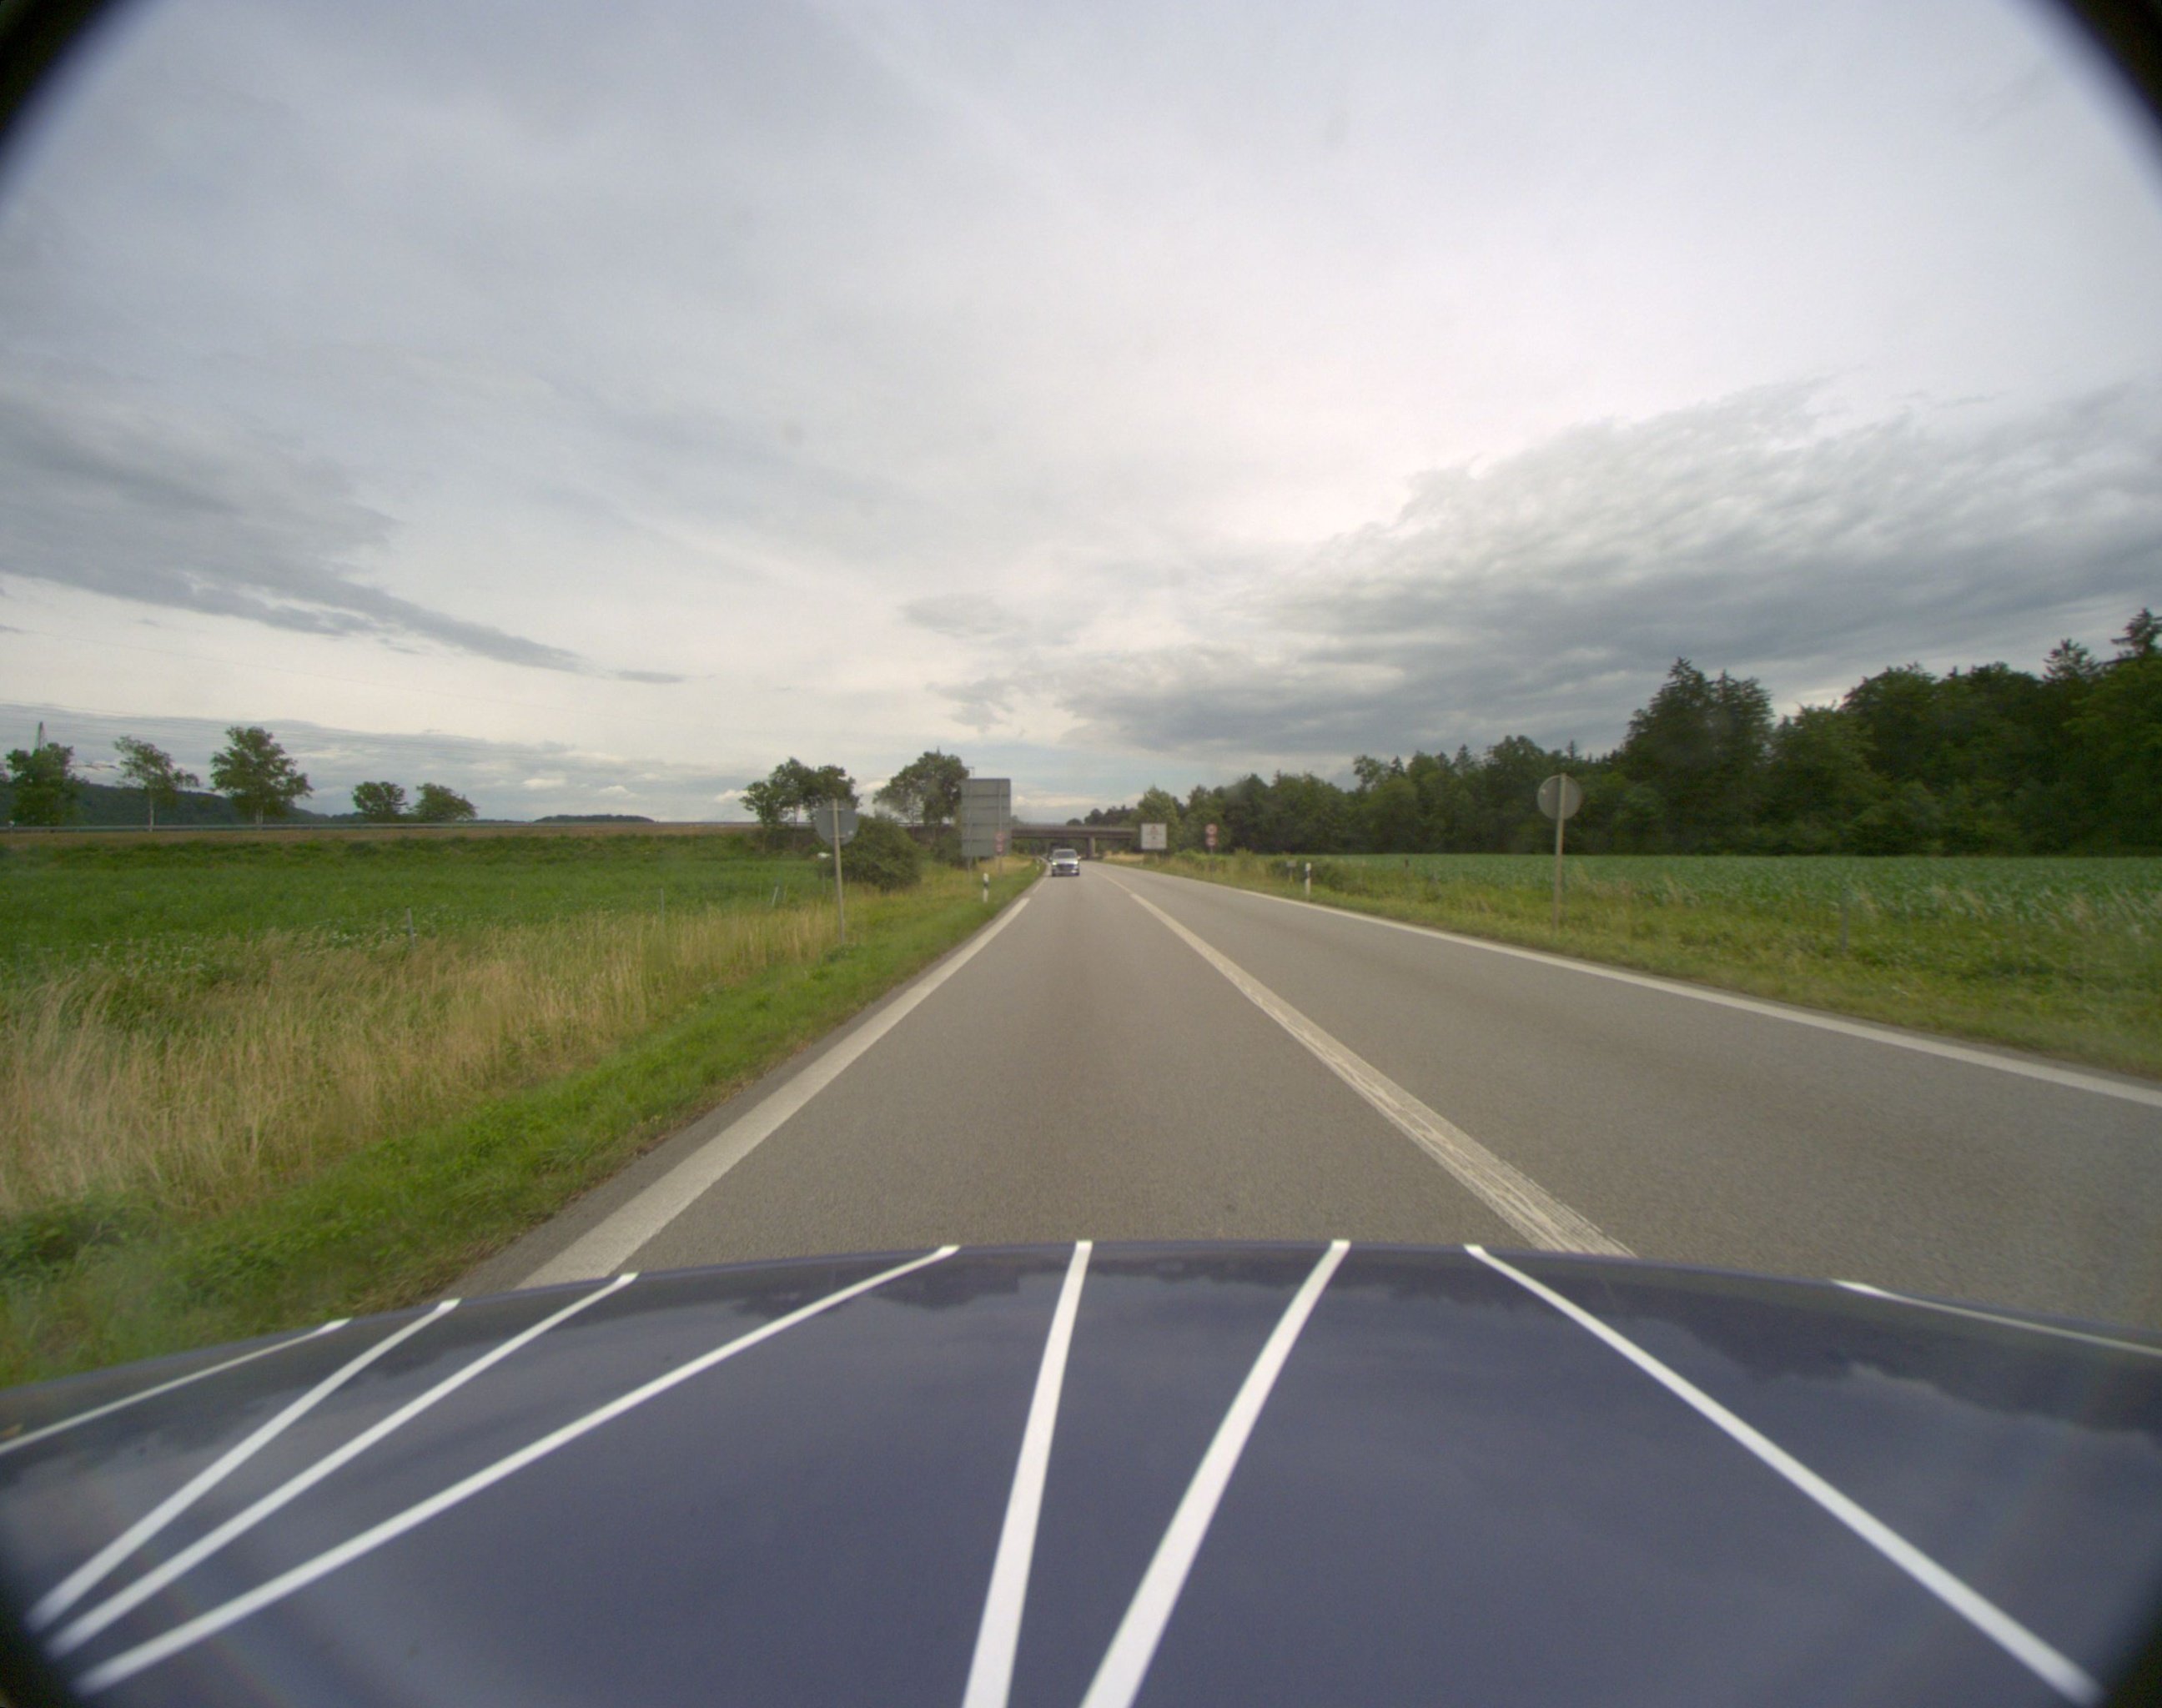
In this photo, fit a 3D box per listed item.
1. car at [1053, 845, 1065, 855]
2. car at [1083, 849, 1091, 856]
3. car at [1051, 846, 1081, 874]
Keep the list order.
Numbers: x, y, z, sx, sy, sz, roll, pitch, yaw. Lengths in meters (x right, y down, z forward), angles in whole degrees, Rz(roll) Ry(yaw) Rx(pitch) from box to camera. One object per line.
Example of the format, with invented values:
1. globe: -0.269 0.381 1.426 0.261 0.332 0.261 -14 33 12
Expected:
1. car: -4.707 -0.789 161.672 1.997 2.002 4.001 -3 1 7
2. car: 1.331 -0.389 176.814 1.771 1.456 3.999 -3 1 0
3. car: -1.108 0.393 53.330 1.924 1.823 3.998 -3 1 -2
